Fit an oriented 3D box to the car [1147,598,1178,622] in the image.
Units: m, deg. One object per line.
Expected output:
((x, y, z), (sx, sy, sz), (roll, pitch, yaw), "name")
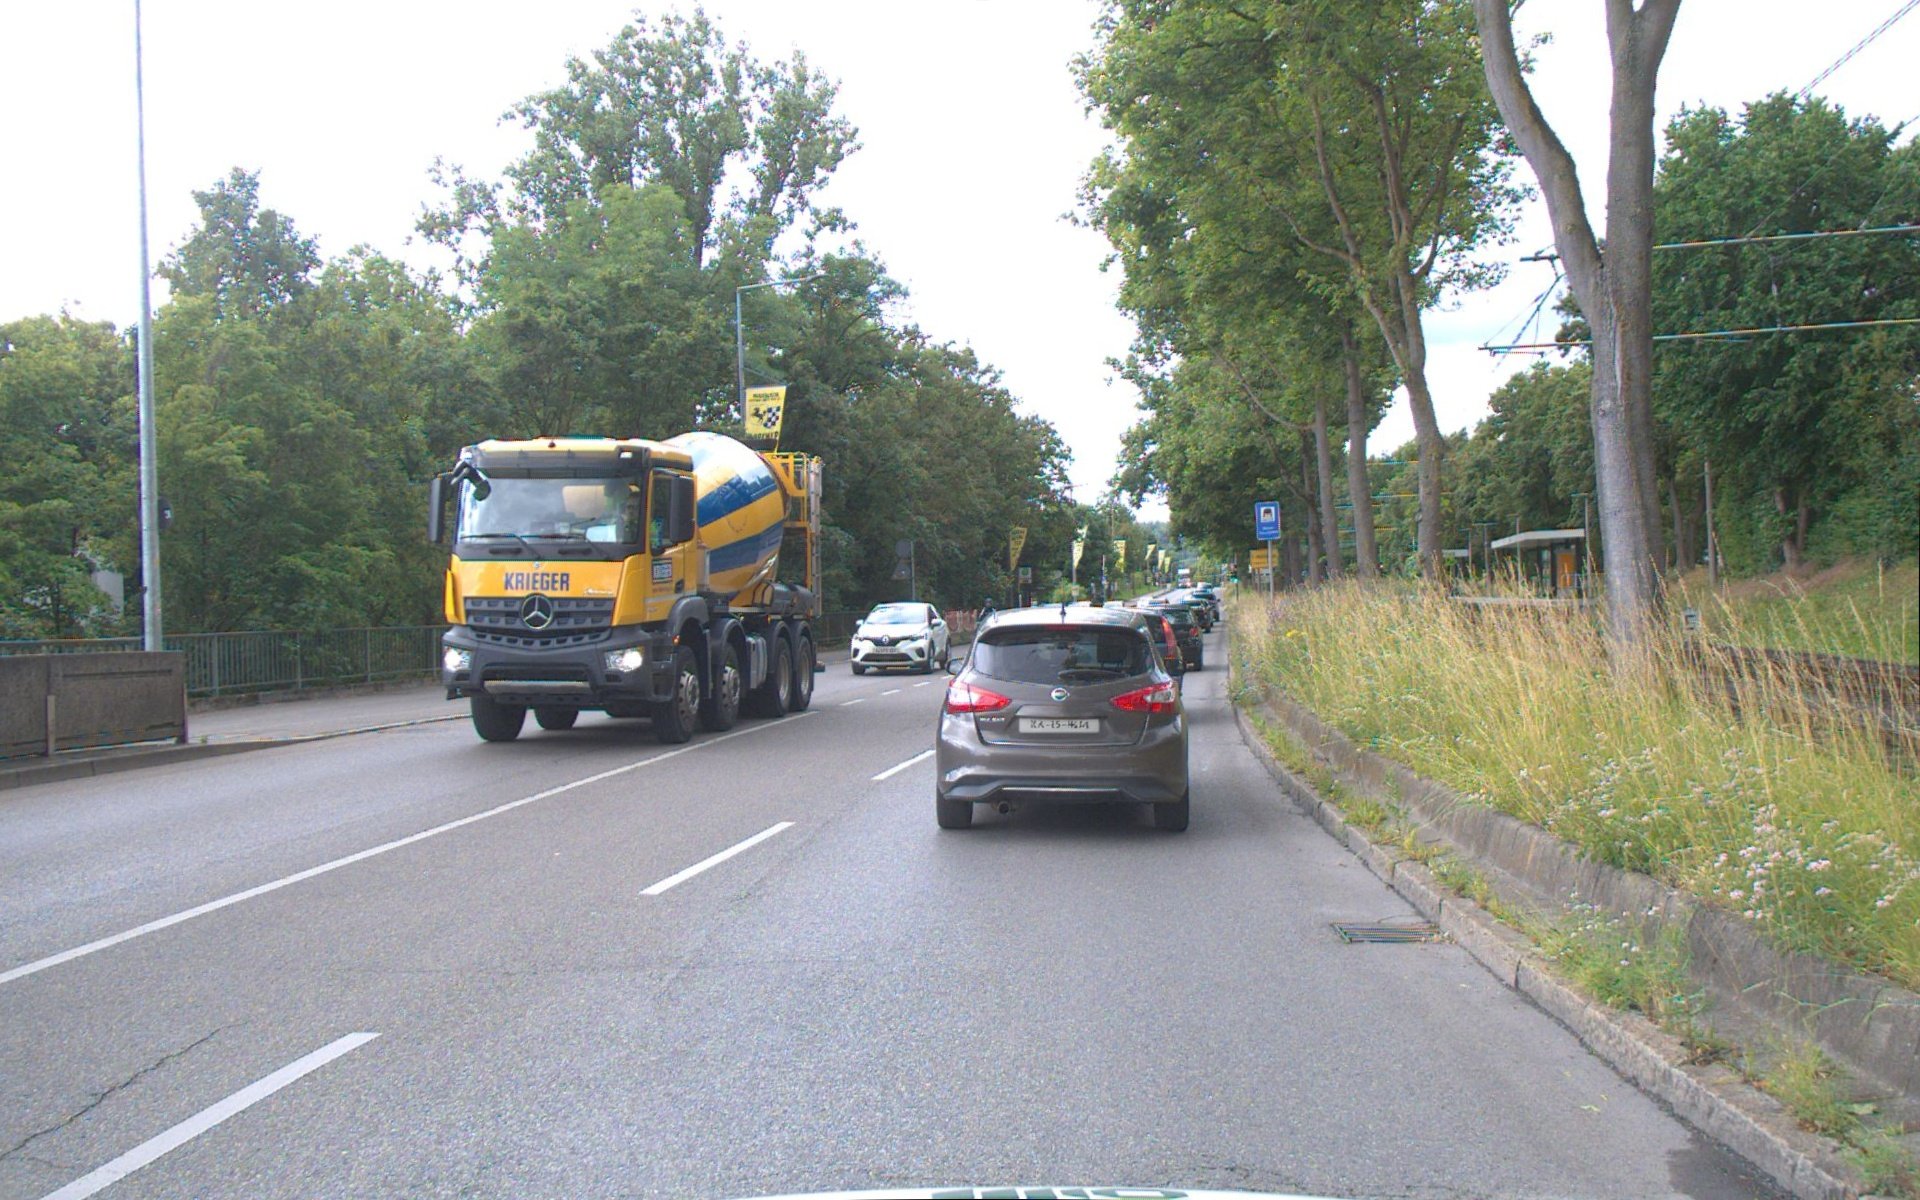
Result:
((13.801, 0.700, 112.410), (1.812, 1.512, 4.424), (-1, -1, 10), "car")

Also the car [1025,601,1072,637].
((4.057, 0.877, 75.210), (1.684, 1.467, 4.003), (-2, -2, 9), "car")

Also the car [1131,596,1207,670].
((4.748, 0.752, 37.984), (1.544, 1.565, 4.002), (-2, -1, 5), "car")

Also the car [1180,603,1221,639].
((10.774, 0.945, 73.895), (1.766, 1.567, 4.003), (0, -1, 9), "car")

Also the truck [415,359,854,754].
((-3.684, -0.413, 21.966), (2.598, 4.008, 10.118), (0, 0, 7), "truck")

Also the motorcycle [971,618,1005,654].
((0.859, 1.097, 50.437), (0.729, 1.051, 1.890), (-1, 0, 10), "motorcycle")

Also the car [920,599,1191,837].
((0.736, 0.806, 12.665), (1.737, 1.520, 4.001), (0, -1, 3), "car")

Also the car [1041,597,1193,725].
((2.086, 0.820, 22.930), (1.853, 1.602, 4.001), (-1, -1, 2), "car")

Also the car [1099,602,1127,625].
((10.644, 0.963, 115.206), (1.715, 1.445, 4.002), (-2, -2, 8), "car")

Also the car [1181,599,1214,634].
((12.704, 0.903, 88.471), (1.682, 1.723, 4.002), (-2, -2, 8), "car")

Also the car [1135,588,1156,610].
((16.913, -0.079, 150.865), (1.682, 1.723, 3.728), (-2, -2, 8), "car")

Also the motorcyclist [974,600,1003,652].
((0.876, 0.775, 50.466), (0.729, 1.566, 0.791), (-1, 0, 10), "motorcyclist")

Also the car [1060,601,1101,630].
((6.475, 0.818, 88.690), (1.779, 1.488, 4.003), (-2, 0, 10), "car")

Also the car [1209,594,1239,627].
((17.035, 0.643, 106.584), (1.850, 2.049, 4.003), (-1, 0, 9), "car")

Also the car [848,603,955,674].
((-1.270, 0.836, 37.408), (1.729, 1.505, 4.003), (-1, 0, 8), "car")
